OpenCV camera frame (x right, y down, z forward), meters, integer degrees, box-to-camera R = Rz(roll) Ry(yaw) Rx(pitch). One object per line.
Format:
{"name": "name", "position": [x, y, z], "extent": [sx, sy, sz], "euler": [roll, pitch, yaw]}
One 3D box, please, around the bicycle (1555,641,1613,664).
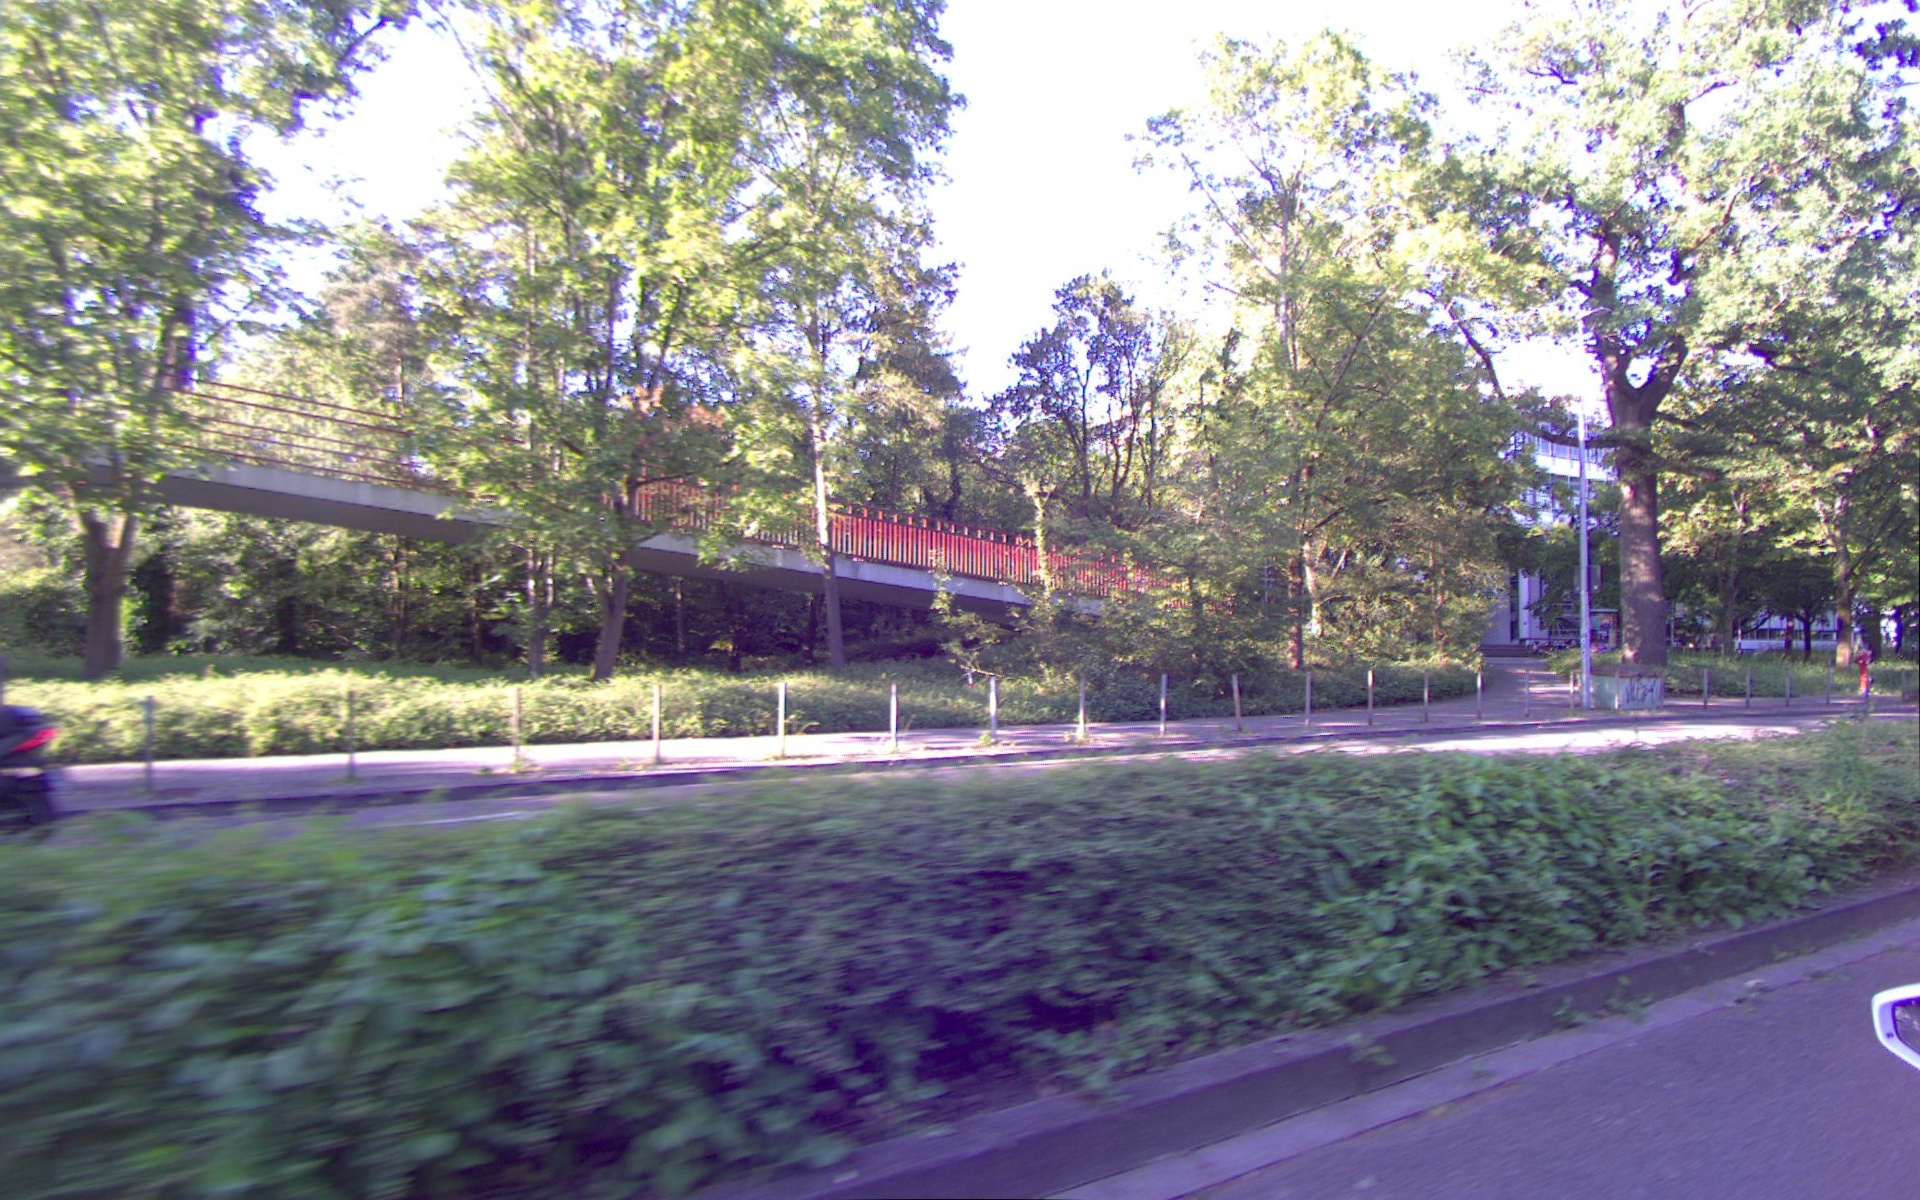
{"name": "bicycle", "position": [30.583, 2.568, 49.277], "extent": [2.380, 1.086, 0.537], "euler": [0, 1, 10]}

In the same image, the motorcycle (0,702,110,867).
{"name": "motorcycle", "position": [-7.287, 1.280, 6.794], "extent": [2.258, 1.082, 0.521], "euler": [1, -2, -27]}

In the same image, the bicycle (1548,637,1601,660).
{"name": "bicycle", "position": [31.137, 2.445, 50.936], "extent": [2.588, 1.086, 0.536], "euler": [0, 2, -11]}

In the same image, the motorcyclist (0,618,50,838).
{"name": "motorcyclist", "position": [-7.115, 0.872, 6.861], "extent": [1.055, 1.490, 0.946], "euler": [1, -2, -26]}
